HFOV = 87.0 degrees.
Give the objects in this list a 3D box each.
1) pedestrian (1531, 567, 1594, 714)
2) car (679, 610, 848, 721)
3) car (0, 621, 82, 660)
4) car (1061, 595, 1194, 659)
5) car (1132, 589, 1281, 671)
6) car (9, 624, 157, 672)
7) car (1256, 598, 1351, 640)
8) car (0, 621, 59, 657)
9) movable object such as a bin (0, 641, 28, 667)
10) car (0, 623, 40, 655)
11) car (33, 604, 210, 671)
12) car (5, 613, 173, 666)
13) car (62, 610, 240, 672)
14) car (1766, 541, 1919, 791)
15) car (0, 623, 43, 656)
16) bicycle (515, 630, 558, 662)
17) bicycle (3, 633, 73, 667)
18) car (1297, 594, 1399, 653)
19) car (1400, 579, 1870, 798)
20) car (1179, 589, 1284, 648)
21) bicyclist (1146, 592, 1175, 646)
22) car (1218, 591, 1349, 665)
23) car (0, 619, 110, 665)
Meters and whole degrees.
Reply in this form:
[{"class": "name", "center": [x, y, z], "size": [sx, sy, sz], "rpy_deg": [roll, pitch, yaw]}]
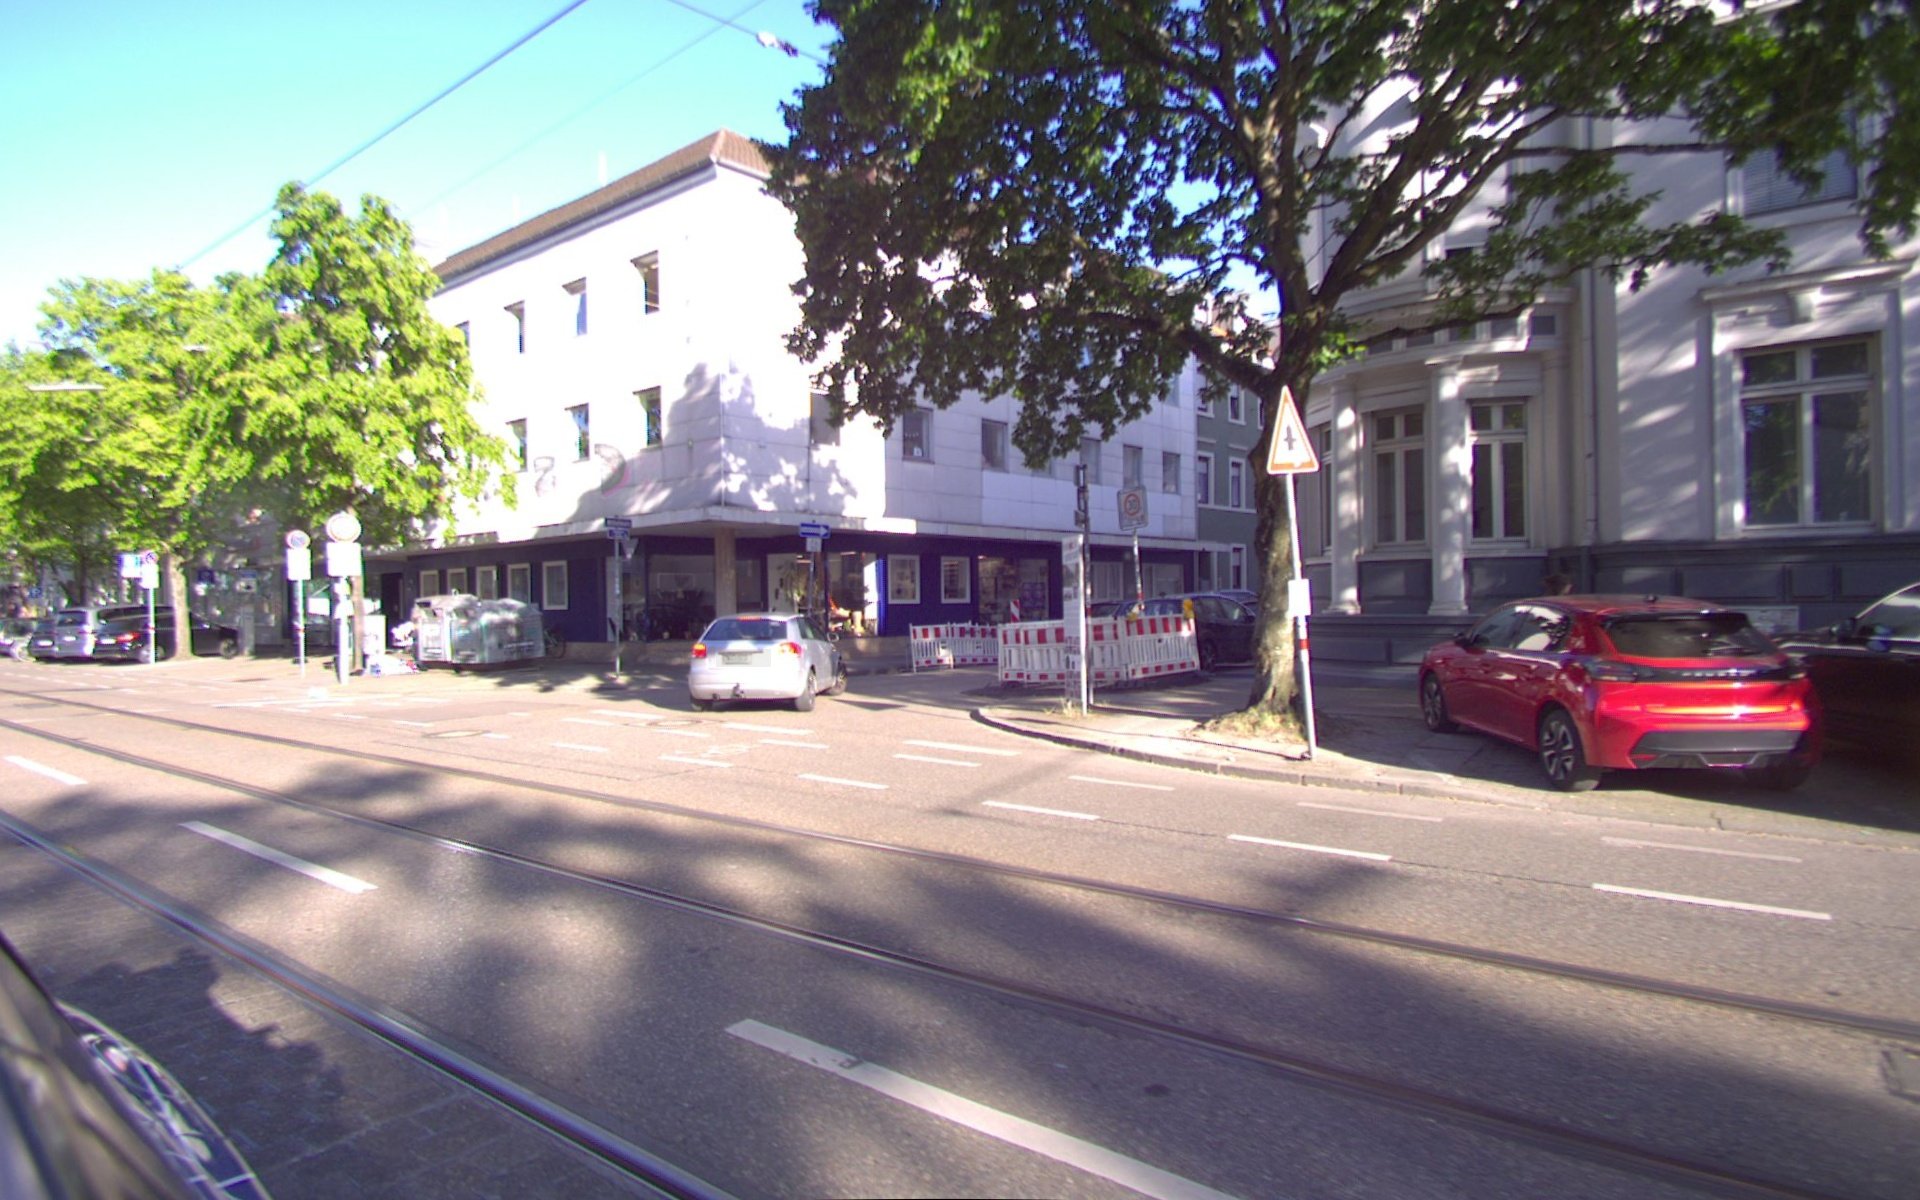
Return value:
[{"class": "pedestrian", "center": [6.676, 0.444, 11.222], "size": [0.511, 1.584, 0.341], "rpy_deg": [-2, -1, 41]}, {"class": "car", "center": [-2.852, 0.897, 15.562], "size": [1.691, 1.447, 4.169], "rpy_deg": [-1, -1, 1]}, {"class": "car", "center": [-42.123, 1.836, 45.205], "size": [1.821, 1.524, 4.104], "rpy_deg": [-2, 1, 10]}, {"class": "car", "center": [4.815, 0.725, 28.735], "size": [1.717, 1.596, 3.942], "rpy_deg": [-2, 1, 45]}, {"class": "car", "center": [4.855, 0.542, 19.705], "size": [1.475, 1.454, 3.205], "rpy_deg": [-2, -1, 42]}, {"class": "car", "center": [-33.033, 1.768, 38.247], "size": [1.826, 1.487, 3.850], "rpy_deg": [-2, 1, 15]}, {"class": "car", "center": [12.571, 0.665, 36.894], "size": [1.752, 1.431, 3.942], "rpy_deg": [-2, -1, 44]}, {"class": "car", "center": [-44.328, 1.833, 47.057], "size": [1.595, 1.504, 3.365], "rpy_deg": [-3, 1, 9]}, {"class": "movable object such as a bin", "center": [-35.537, 2.014, 37.996], "size": [0.571, 0.920, 0.573], "rpy_deg": [-3, 1, 21]}, {"class": "car", "center": [-48.788, 2.011, 50.315], "size": [1.922, 1.502, 4.190], "rpy_deg": [-2, 1, 10]}, {"class": "car", "center": [-28.727, 1.225, 34.855], "size": [1.931, 2.001, 4.347], "rpy_deg": [-2, 1, 15]}, {"class": "car", "center": [-30.735, 1.346, 35.875], "size": [1.795, 1.698, 4.227], "rpy_deg": [-1, 0, 16]}, {"class": "car", "center": [-26.441, 1.299, 33.290], "size": [1.892, 1.679, 4.279], "rpy_deg": [-2, 2, 13]}, {"class": "car", "center": [7.449, 0.437, 6.515], "size": [1.590, 1.734, 3.683], "rpy_deg": [-1, -1, 2]}, {"class": "car", "center": [-46.782, 1.953, 48.669], "size": [1.733, 1.481, 3.675], "rpy_deg": [-2, 1, 8]}, {"class": "bicycle", "center": [-11.415, 1.227, 27.253], "size": [1.482, 0.845, 0.380], "rpy_deg": [-2, -1, 38]}, {"class": "bicycle", "center": [-35.036, 1.887, 38.490], "size": [0.489, 1.153, 1.960], "rpy_deg": [-2, 1, 19]}, {"class": "car", "center": [10.541, 0.608, 27.398], "size": [1.524, 1.509, 3.276], "rpy_deg": [-2, -1, 41]}, {"class": "car", "center": [5.403, 0.570, 8.798], "size": [1.617, 1.464, 3.910], "rpy_deg": [-1, 1, 3]}, {"class": "car", "center": [8.846, 0.556, 32.793], "size": [1.607, 1.785, 3.943], "rpy_deg": [-2, -1, 43]}, {"class": "bicyclist", "center": [5.242, 0.491, 26.469], "size": [0.459, 1.388, 0.632], "rpy_deg": [-2, -1, 41]}, {"class": "car", "center": [7.522, 0.597, 23.355], "size": [1.475, 1.560, 3.718], "rpy_deg": [-2, -1, 42]}, {"class": "car", "center": [-39.301, 1.790, 43.316], "size": [1.836, 1.690, 4.070], "rpy_deg": [-2, 2, 35]}]
